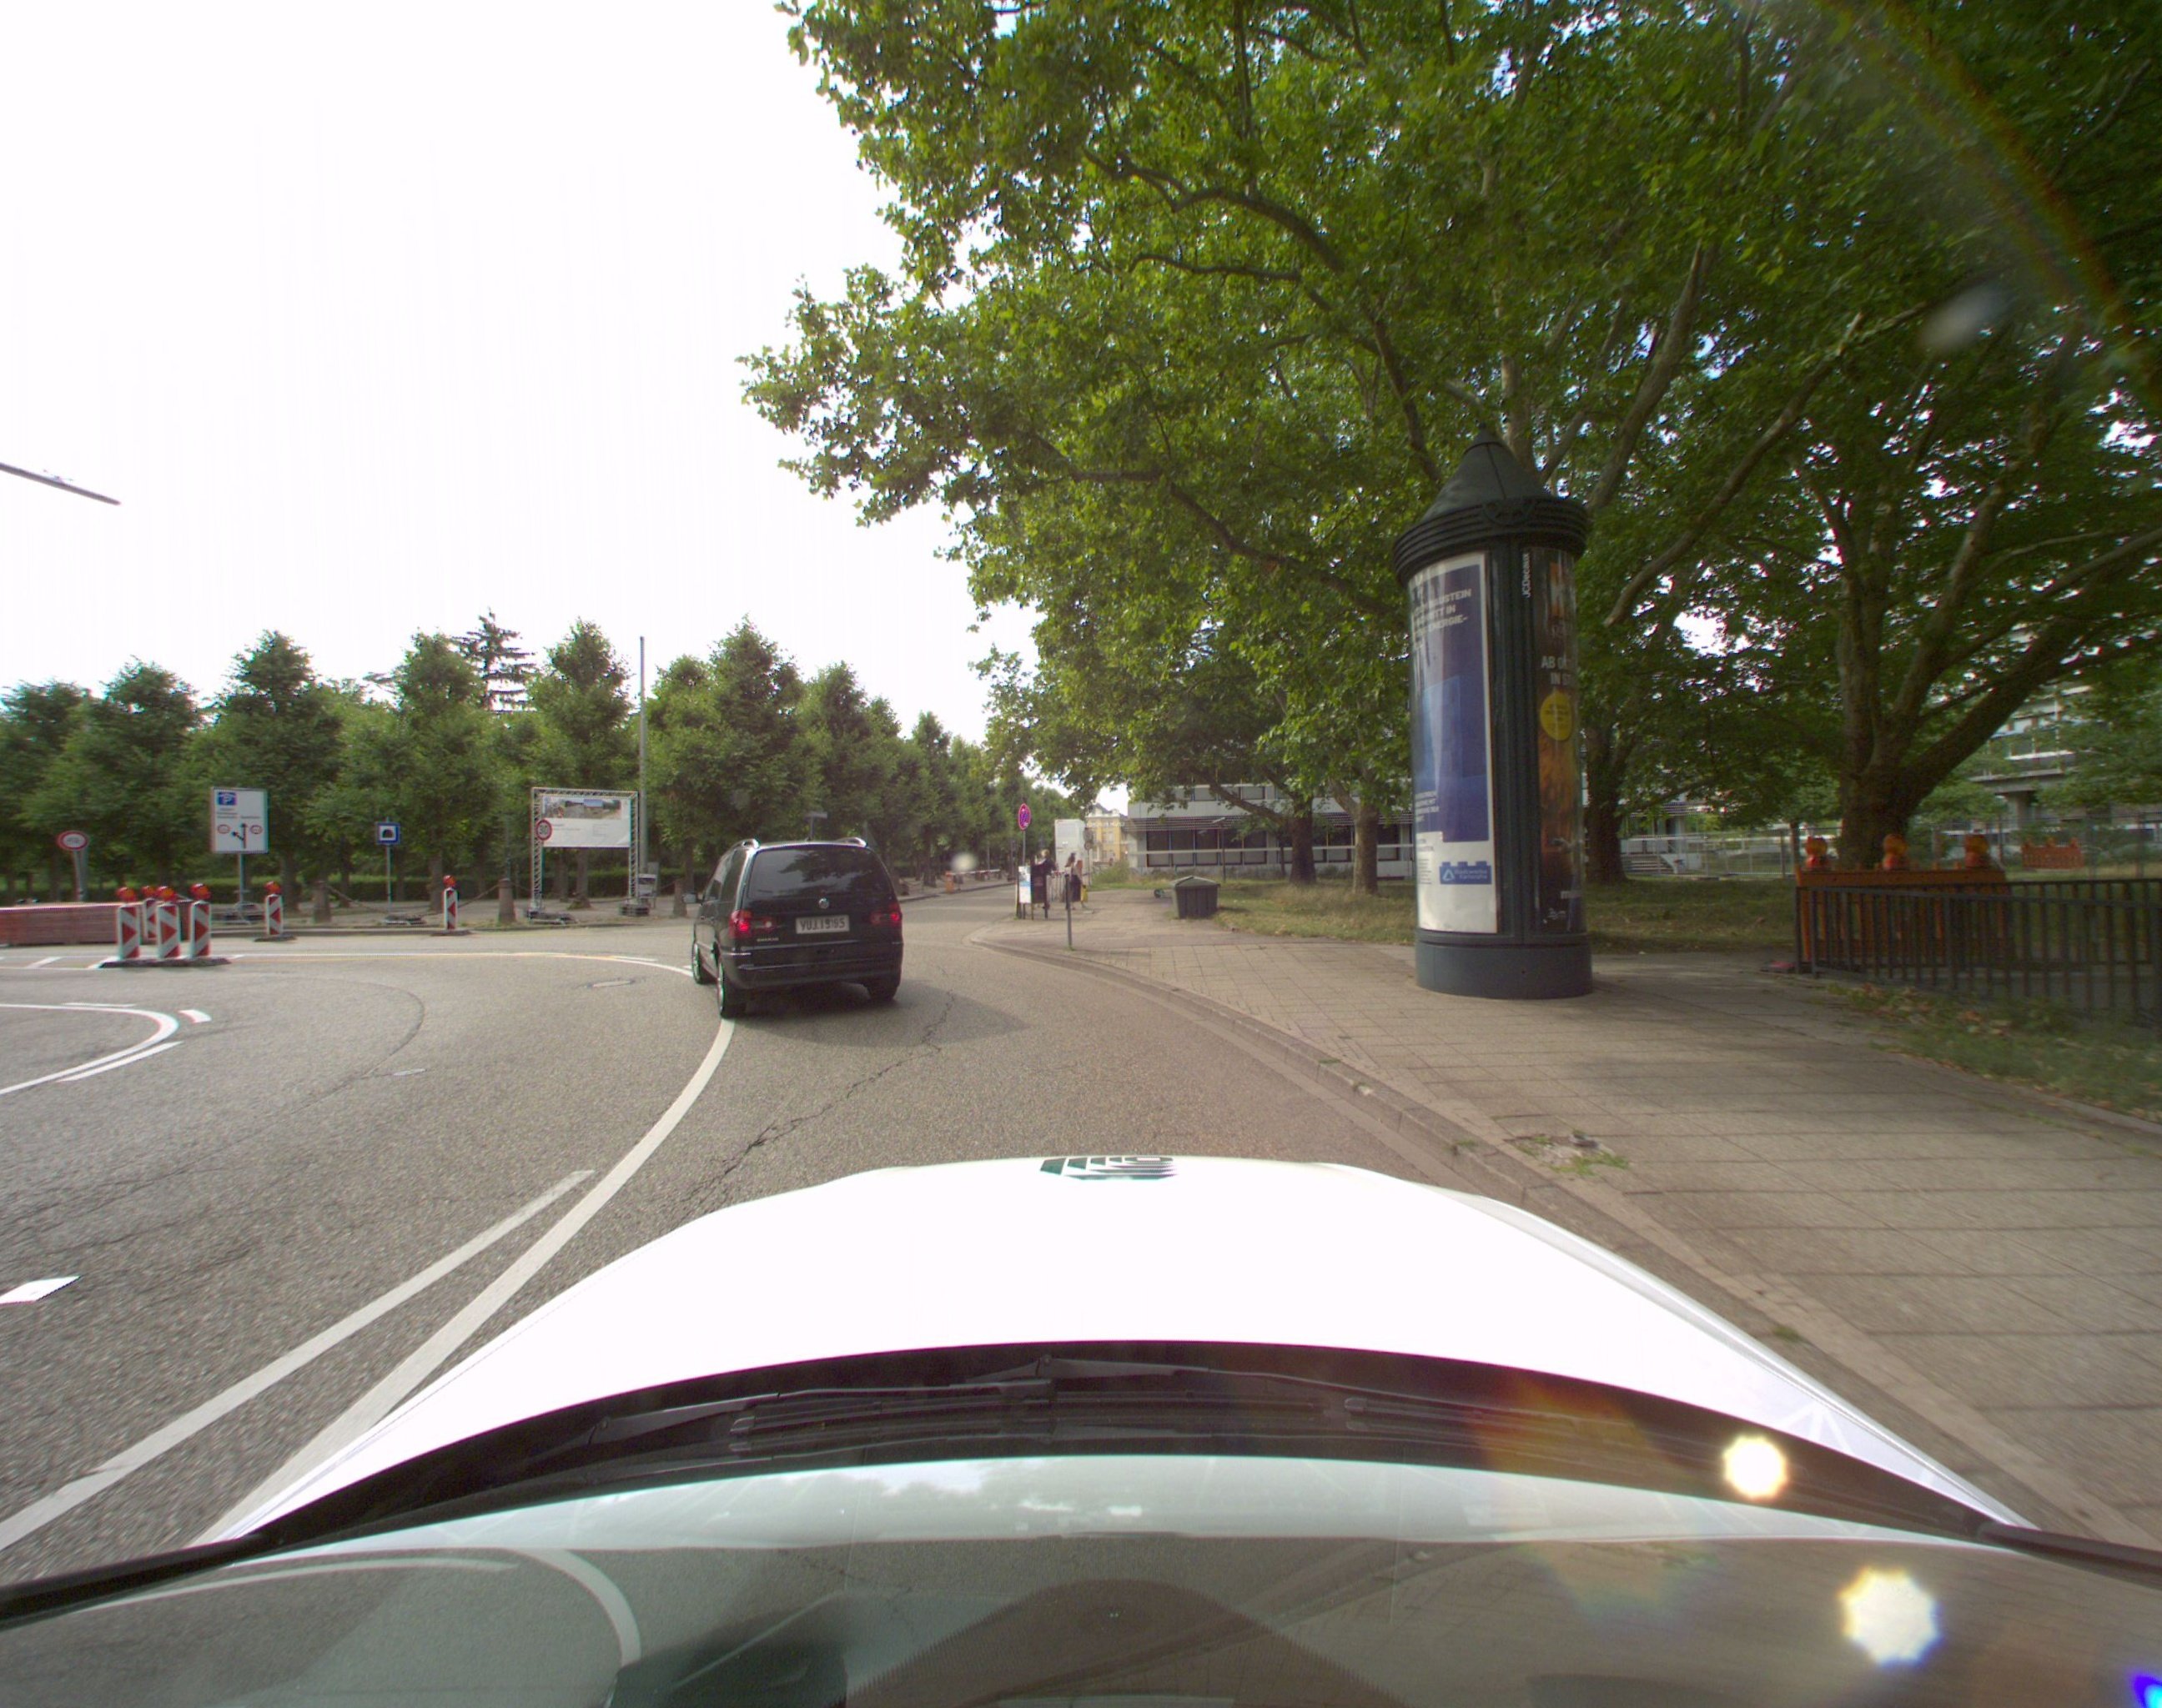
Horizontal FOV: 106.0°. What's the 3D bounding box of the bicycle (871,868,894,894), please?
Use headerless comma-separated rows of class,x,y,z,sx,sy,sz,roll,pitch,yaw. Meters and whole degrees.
bicycle,-9.161,1.219,37.672,0.953,1.110,2.569,0,0,-12

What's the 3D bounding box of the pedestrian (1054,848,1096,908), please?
pedestrian,-0.169,0.654,23.018,0.887,1.641,0.858,0,0,31

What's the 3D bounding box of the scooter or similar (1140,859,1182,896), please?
scooter or similar,2.828,0.819,28.806,1.445,1.269,0.570,0,0,0

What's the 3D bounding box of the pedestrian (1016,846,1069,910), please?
pedestrian,-1.081,0.659,23.142,0.951,1.741,1.263,0,0,30

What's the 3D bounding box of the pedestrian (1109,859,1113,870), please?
pedestrian,4.494,1.539,121.066,0.459,1.625,0.630,0,0,-8

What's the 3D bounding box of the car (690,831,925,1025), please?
car,-3.371,0.677,9.475,1.805,1.708,4.091,-2,0,-30
